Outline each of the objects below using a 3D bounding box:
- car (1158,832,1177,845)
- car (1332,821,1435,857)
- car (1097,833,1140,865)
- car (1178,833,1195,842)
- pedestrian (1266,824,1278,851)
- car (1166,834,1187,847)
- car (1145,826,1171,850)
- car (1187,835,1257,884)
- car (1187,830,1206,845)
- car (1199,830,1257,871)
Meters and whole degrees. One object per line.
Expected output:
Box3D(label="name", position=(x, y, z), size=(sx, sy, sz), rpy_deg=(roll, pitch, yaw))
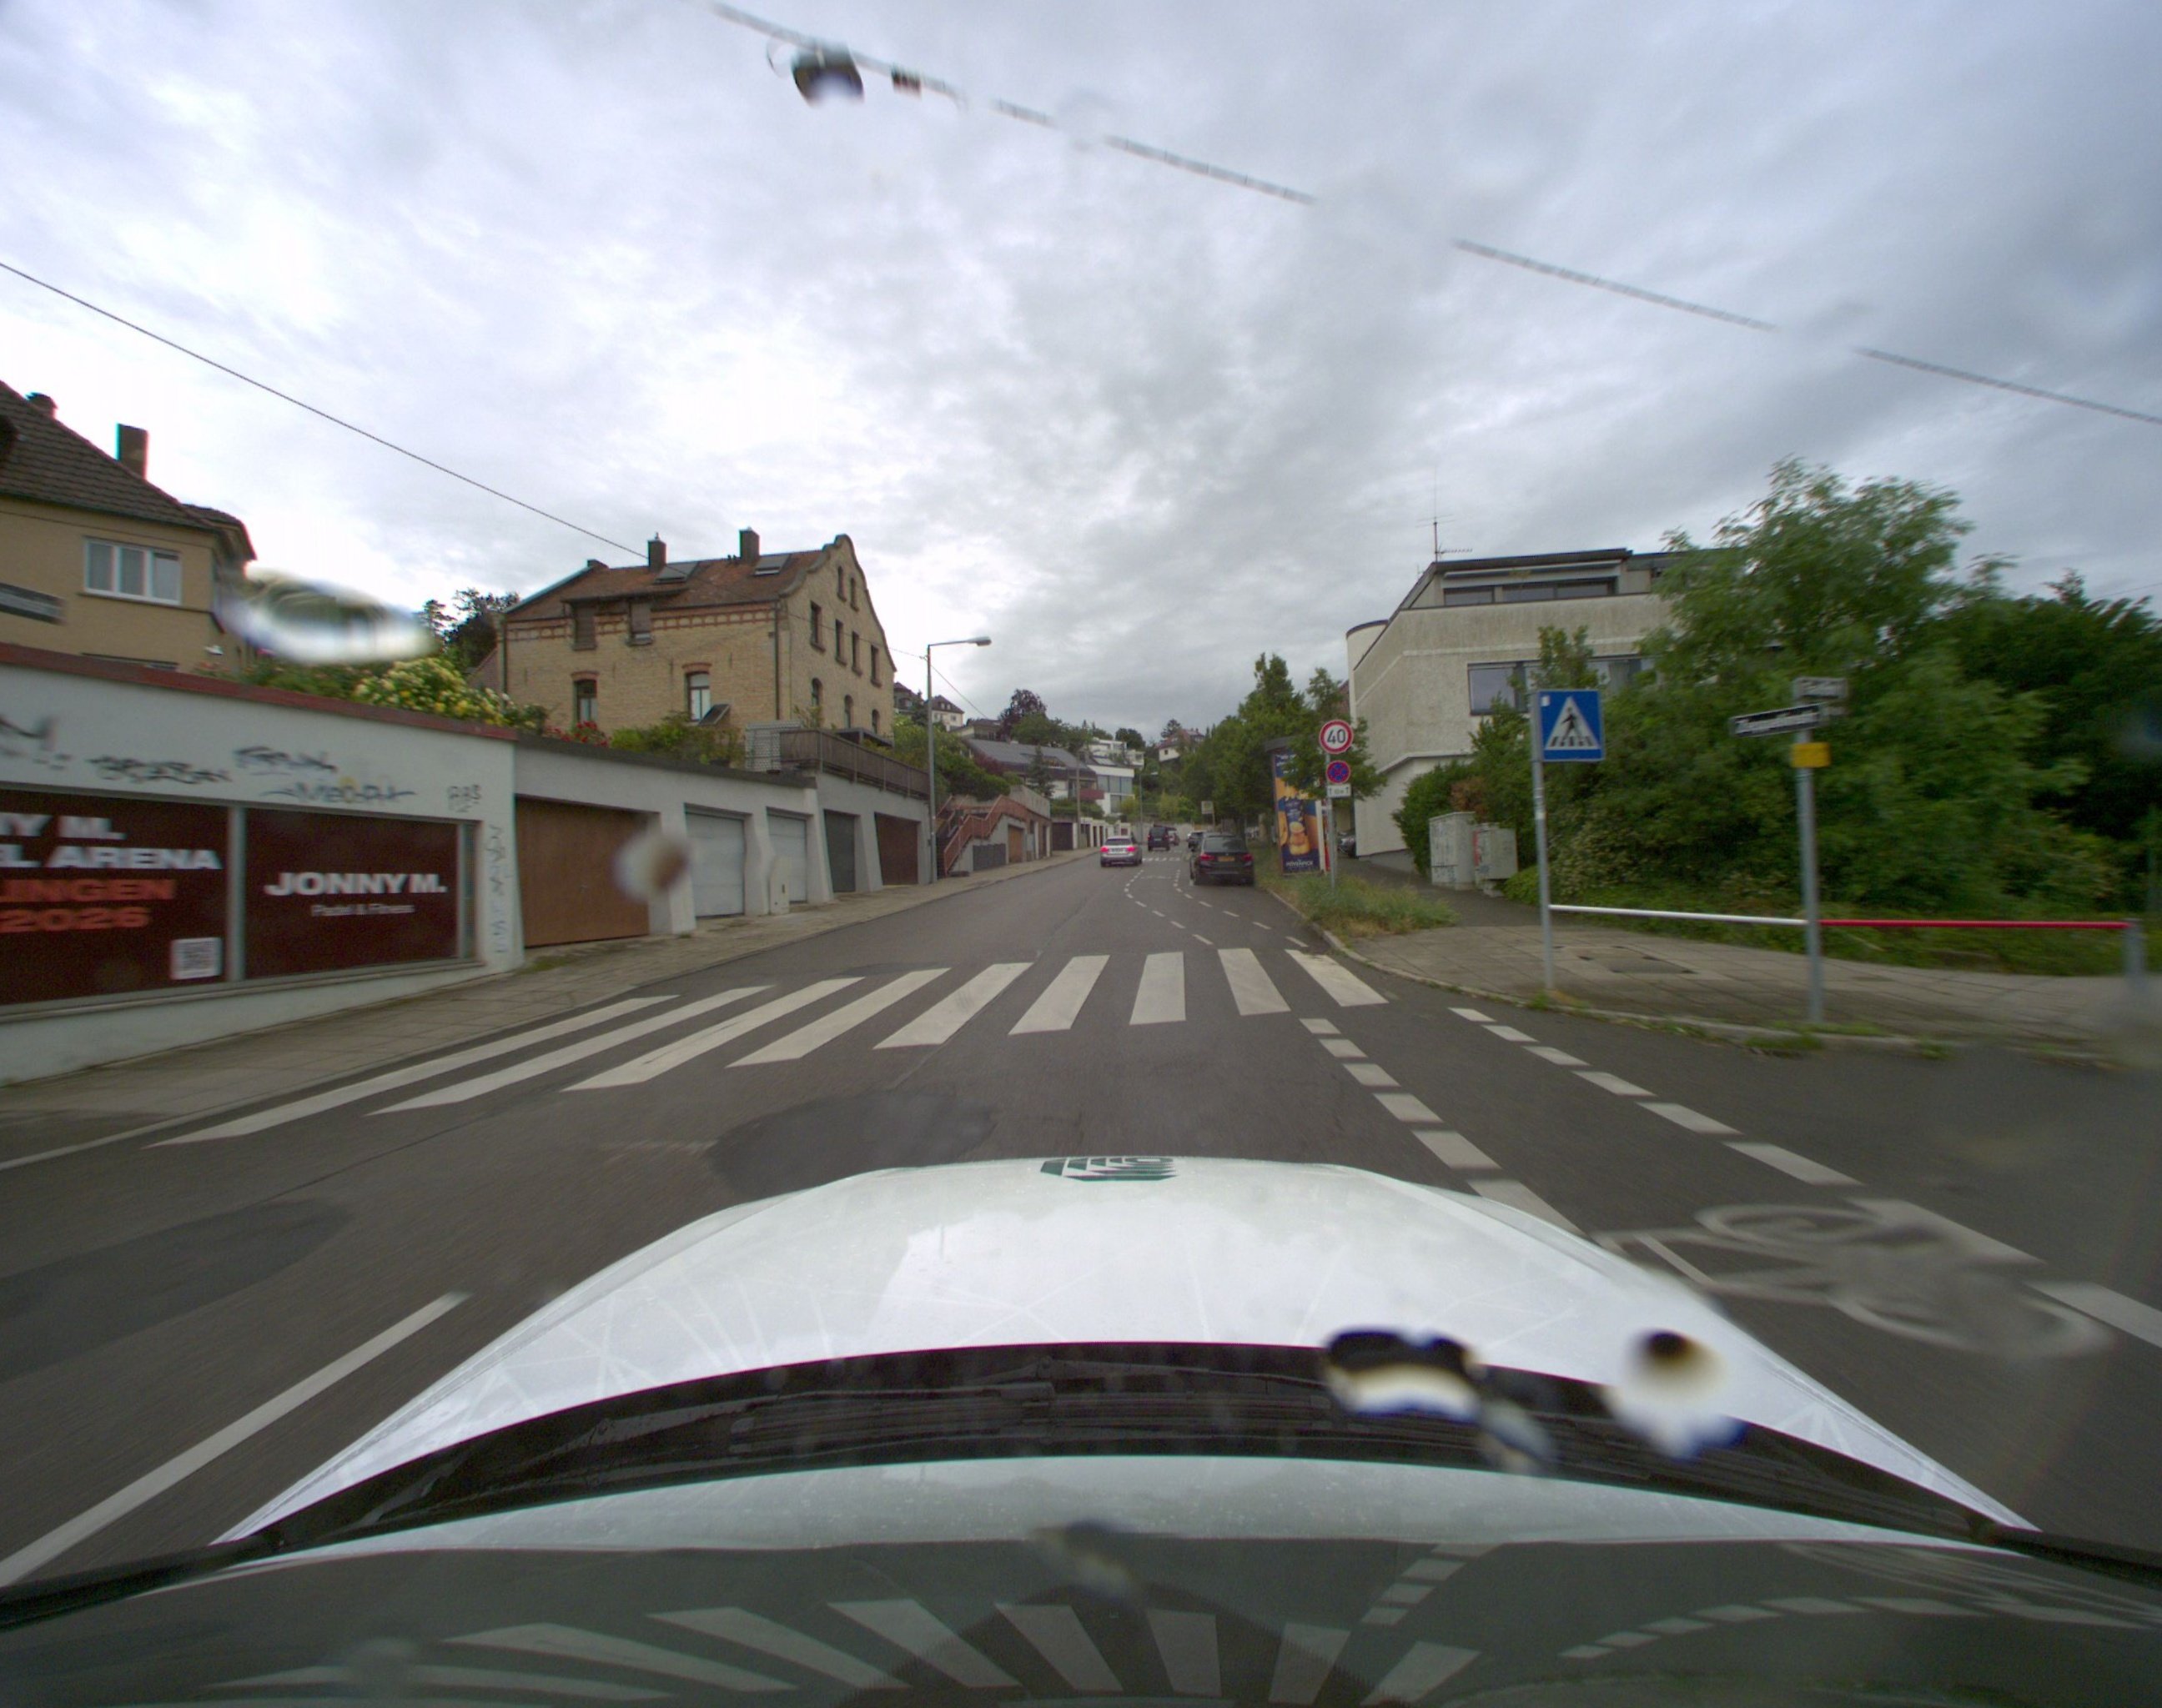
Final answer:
Box3D(label="car", position=(8.616, -1.551, 80.967), size=(1.814, 1.296, 4.009), rpy_deg=(-1, 1, 8))
Box3D(label="car", position=(12.658, -0.609, 34.104), size=(3.952, 1.415, 1.734), rpy_deg=(-1, 1, 22))
Box3D(label="car", position=(1.871, -0.268, 39.407), size=(1.802, 1.360, 4.009), rpy_deg=(1, 3, 7))
Box3D(label="car", position=(15.014, -2.374, 115.474), size=(1.810, 1.296, 4.017), rpy_deg=(-1, 1, 15))
Box3D(label="pedestrian", position=(12.722, -1.110, 54.169), size=(0.635, 1.795, 0.745), rpy_deg=(-1, 1, 4))
Box3D(label="car", position=(12.557, -1.800, 106.617), size=(1.712, 1.606, 3.569), rpy_deg=(0, 1, 25))
Box3D(label="car", position=(6.144, -1.272, 64.739), size=(1.813, 1.819, 4.010), rpy_deg=(-1, 1, 8))
Box3D(label="car", position=(4.382, 0.118, 25.862), size=(1.763, 1.377, 4.354), rpy_deg=(-1, 1, 4))
Box3D(label="car", position=(10.182, -1.444, 71.505), size=(1.459, 1.254, 3.594), rpy_deg=(-1, 1, 11))
Box3D(label="car", position=(5.503, -0.162, 30.876), size=(1.708, 1.450, 3.837), rpy_deg=(-1, 1, 3))
